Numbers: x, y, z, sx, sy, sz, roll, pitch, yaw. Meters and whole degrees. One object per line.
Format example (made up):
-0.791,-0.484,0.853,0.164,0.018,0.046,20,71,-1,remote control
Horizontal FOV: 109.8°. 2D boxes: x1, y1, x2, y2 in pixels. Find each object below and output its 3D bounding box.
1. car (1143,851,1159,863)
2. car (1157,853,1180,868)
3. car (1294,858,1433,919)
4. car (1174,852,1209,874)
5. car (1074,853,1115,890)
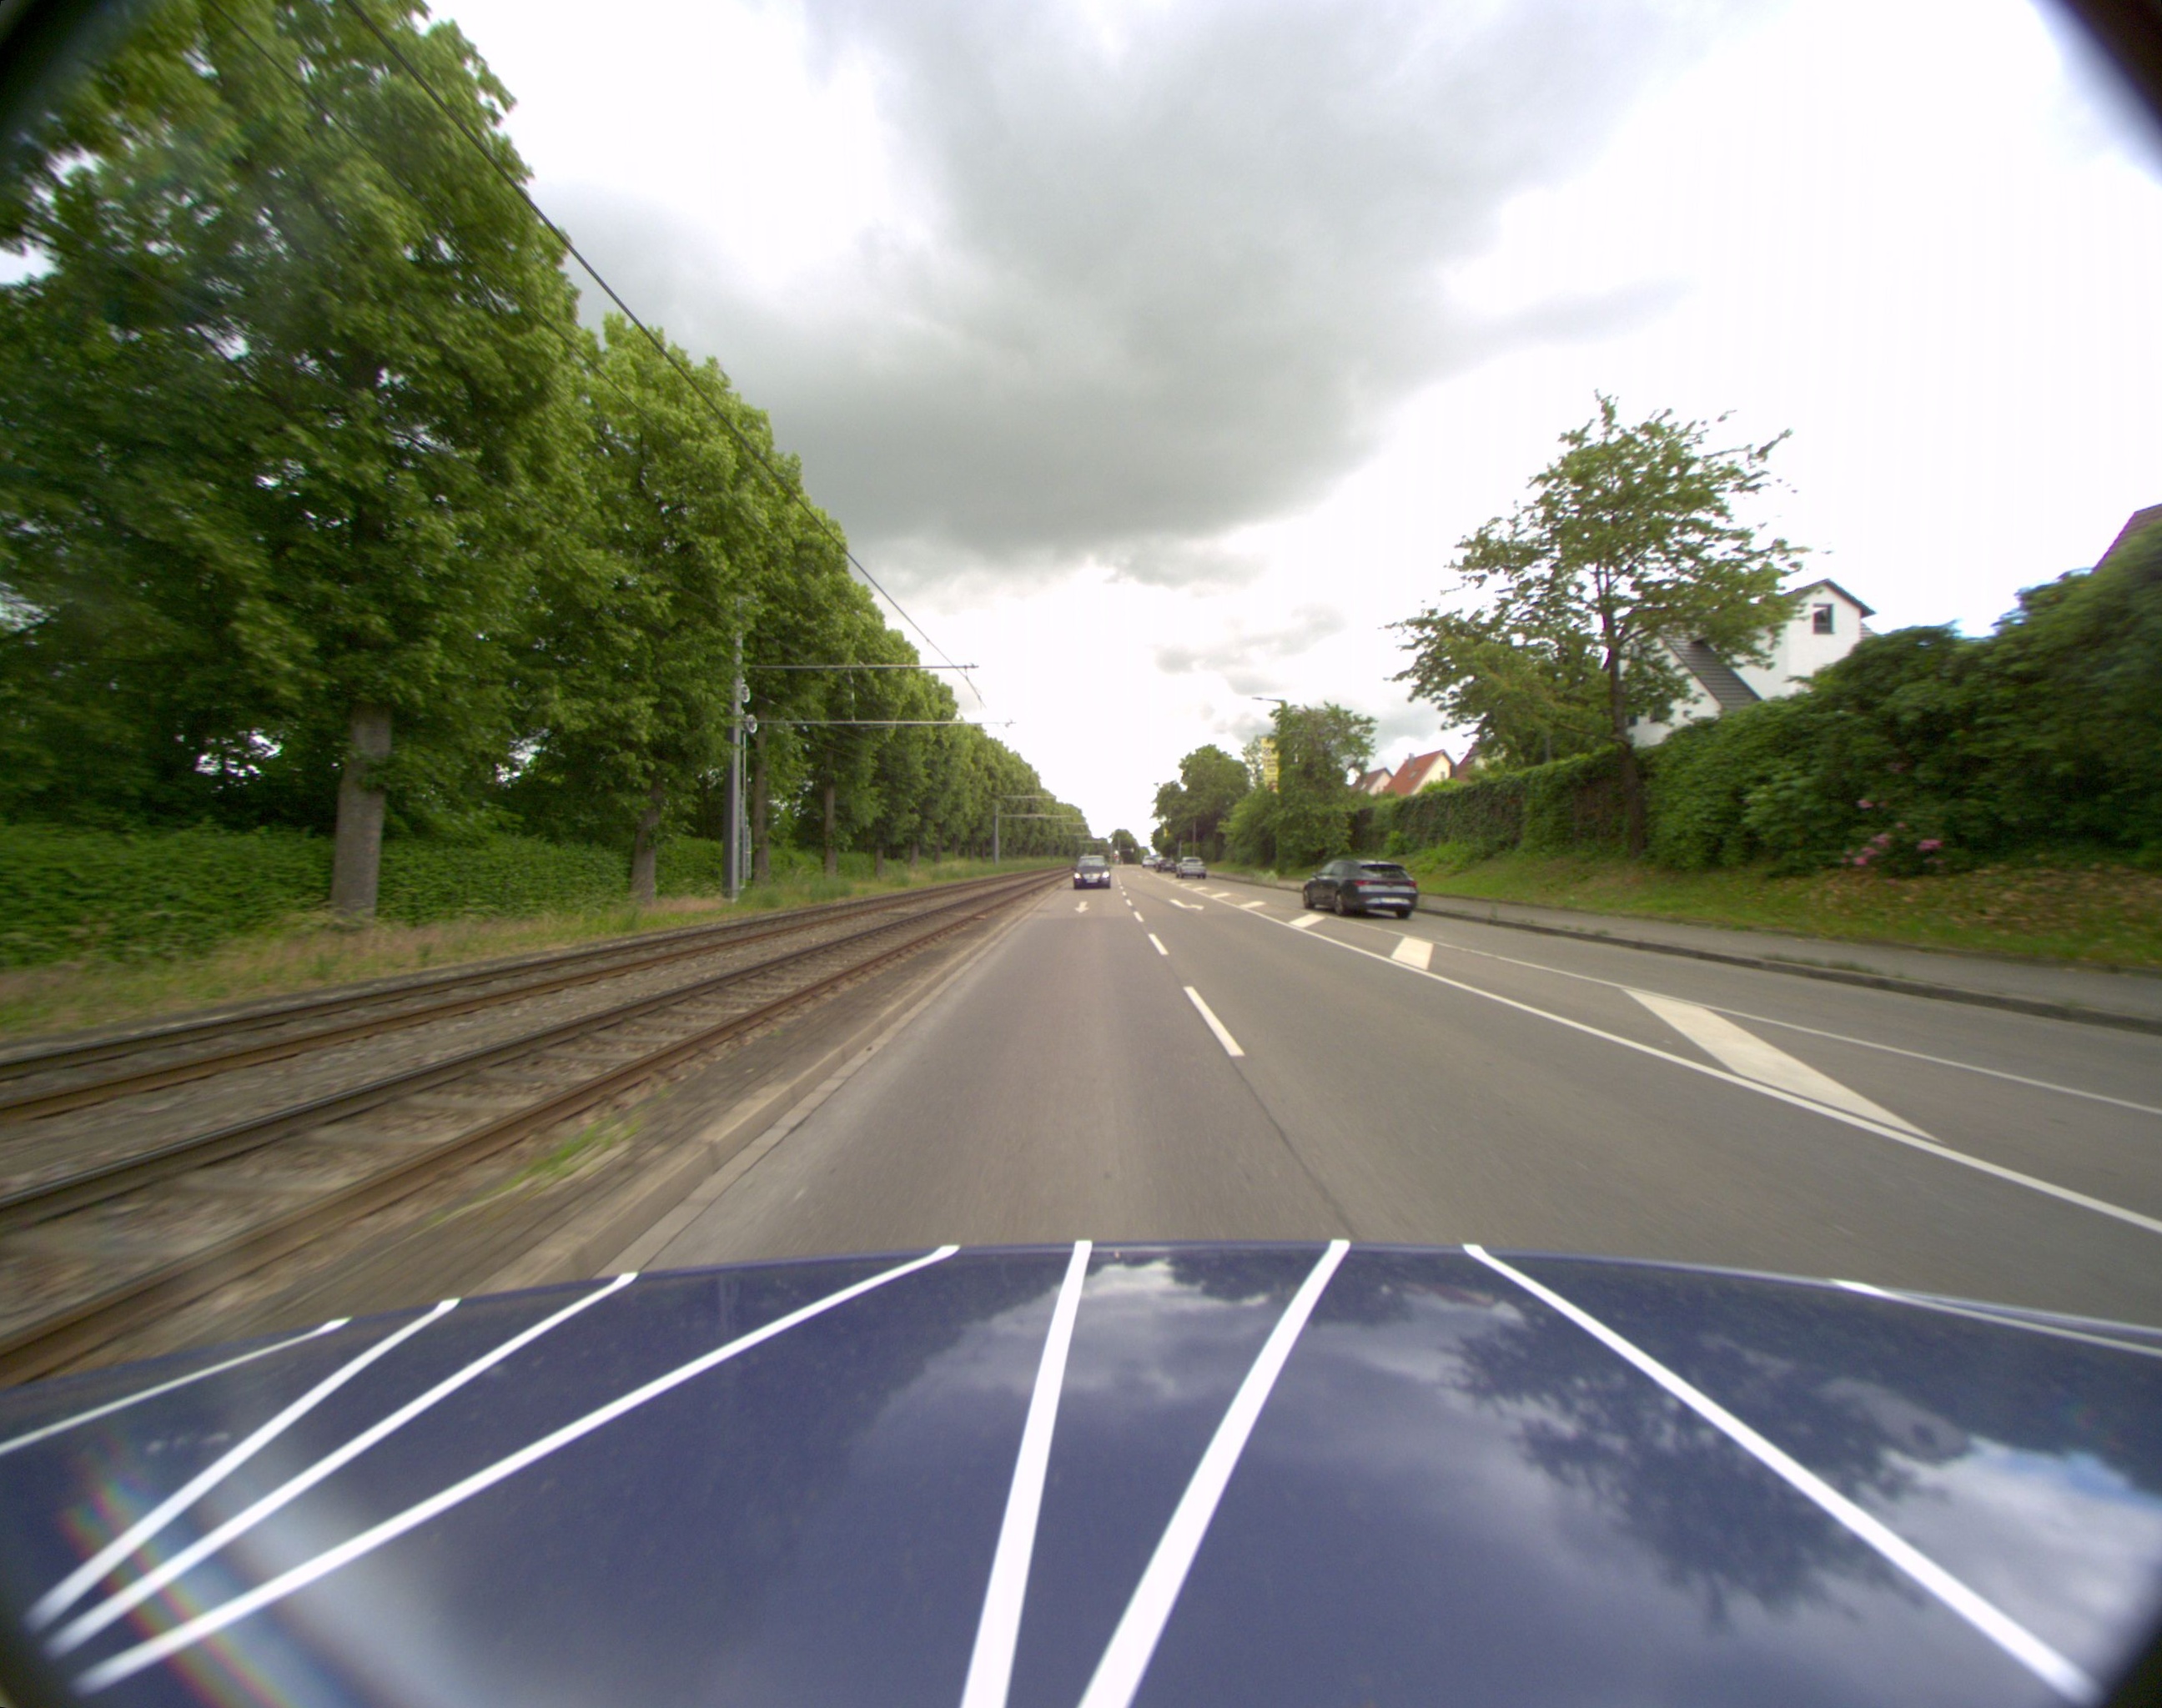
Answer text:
9.755,0.426,105.910,1.846,1.611,4.159,1,0,1,car
8.565,0.623,74.847,1.770,1.392,4.215,2,0,1,car
7.244,0.810,20.007,1.846,1.368,4.446,1,0,-2,car
7.872,0.623,54.392,1.831,1.448,4.142,2,0,0,car
0.674,0.800,36.227,1.749,1.558,4.122,-3,0,2,car
